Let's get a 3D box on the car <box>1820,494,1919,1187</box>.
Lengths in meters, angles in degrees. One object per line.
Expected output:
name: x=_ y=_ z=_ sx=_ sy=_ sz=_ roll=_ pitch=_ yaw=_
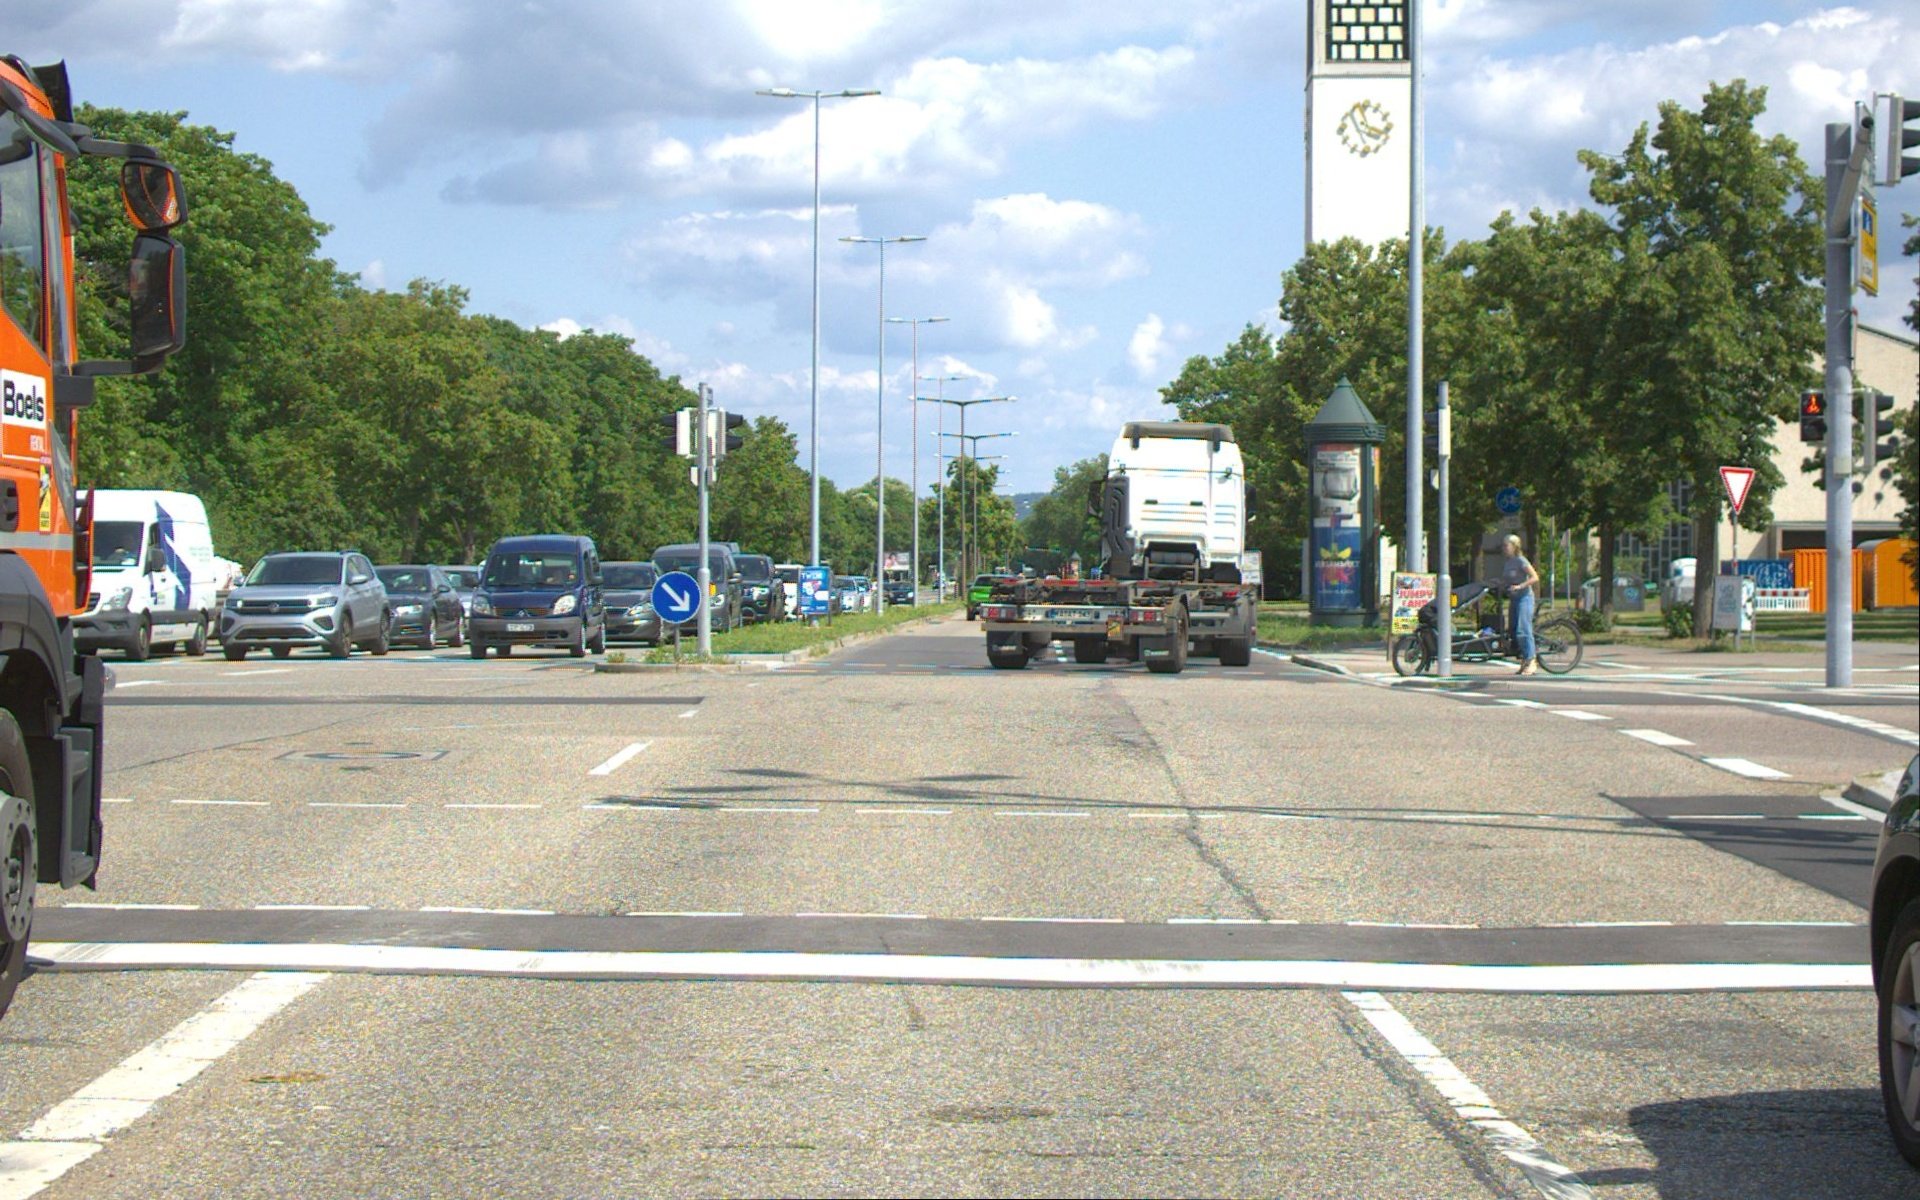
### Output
car: x=3.104 y=0.576 z=6.462 sx=1.799 sy=1.547 sz=4.000 roll=2 pitch=0 yaw=-2

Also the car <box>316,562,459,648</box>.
car: x=-9.384 y=0.072 z=56.564 sx=1.763 sy=1.347 sz=3.519 roll=1 pitch=0 yaw=0

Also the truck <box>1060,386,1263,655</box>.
truck: x=3.314 y=-1.175 z=55.523 sx=2.960 sy=3.957 sz=8.636 roll=1 pitch=0 yaw=4

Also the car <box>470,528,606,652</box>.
car: x=-6.092 y=-0.155 z=49.963 sx=1.734 sy=1.654 sz=4.232 roll=2 pitch=0 yaw=-5

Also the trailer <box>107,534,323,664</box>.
trailer: x=-12.406 y=-0.021 z=57.615 sx=2.124 sy=2.007 sz=5.161 roll=2 pitch=0 yaw=4

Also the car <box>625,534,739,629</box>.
car: x=-5.217 y=-0.379 z=65.039 sx=1.734 sy=1.654 sz=4.231 roll=2 pitch=1 yaw=0

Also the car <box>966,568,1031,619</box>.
car: x=1.244 y=-0.219 z=112.258 sx=1.993 sy=1.547 sz=4.000 roll=2 pitch=0 yaw=0

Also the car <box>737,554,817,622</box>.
car: x=-4.737 y=-0.317 z=89.529 sx=1.734 sy=1.654 sz=4.231 roll=2 pitch=0 yaw=1

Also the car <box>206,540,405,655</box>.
car: x=-9.489 y=-0.047 z=50.161 sx=1.735 sy=1.538 sz=4.308 roll=2 pitch=0 yaw=4

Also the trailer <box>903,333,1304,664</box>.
trailer: x=2.282 y=-1.220 z=47.364 sx=3.622 sy=3.998 sz=11.312 roll=1 pitch=0 yaw=12

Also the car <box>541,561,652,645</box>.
car: x=-6.047 y=0.040 z=57.522 sx=1.568 sy=1.311 sz=3.432 roll=2 pitch=0 yaw=-2

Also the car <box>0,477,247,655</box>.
car: x=-12.732 y=-0.501 z=52.017 sx=2.174 sy=2.463 sz=5.966 roll=2 pitch=0 yaw=4

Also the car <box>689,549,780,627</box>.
car: x=-5.098 y=-0.270 z=78.263 sx=1.734 sy=1.654 sz=4.231 roll=2 pitch=0 yaw=0

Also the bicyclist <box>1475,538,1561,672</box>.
bicyclist: x=6.811 y=0.056 z=41.999 sx=0.698 sy=1.610 sz=0.797 roll=0 pitch=1 yaw=-23

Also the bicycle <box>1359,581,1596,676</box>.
bicycle: x=6.295 y=0.343 z=41.790 sx=2.832 sy=1.108 sz=0.797 roll=0 pitch=1 yaw=-23

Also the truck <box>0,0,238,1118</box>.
truck: x=-3.776 y=-0.445 z=5.683 sx=3.070 sy=3.402 sz=11.069 roll=2 pitch=0 yaw=-2
